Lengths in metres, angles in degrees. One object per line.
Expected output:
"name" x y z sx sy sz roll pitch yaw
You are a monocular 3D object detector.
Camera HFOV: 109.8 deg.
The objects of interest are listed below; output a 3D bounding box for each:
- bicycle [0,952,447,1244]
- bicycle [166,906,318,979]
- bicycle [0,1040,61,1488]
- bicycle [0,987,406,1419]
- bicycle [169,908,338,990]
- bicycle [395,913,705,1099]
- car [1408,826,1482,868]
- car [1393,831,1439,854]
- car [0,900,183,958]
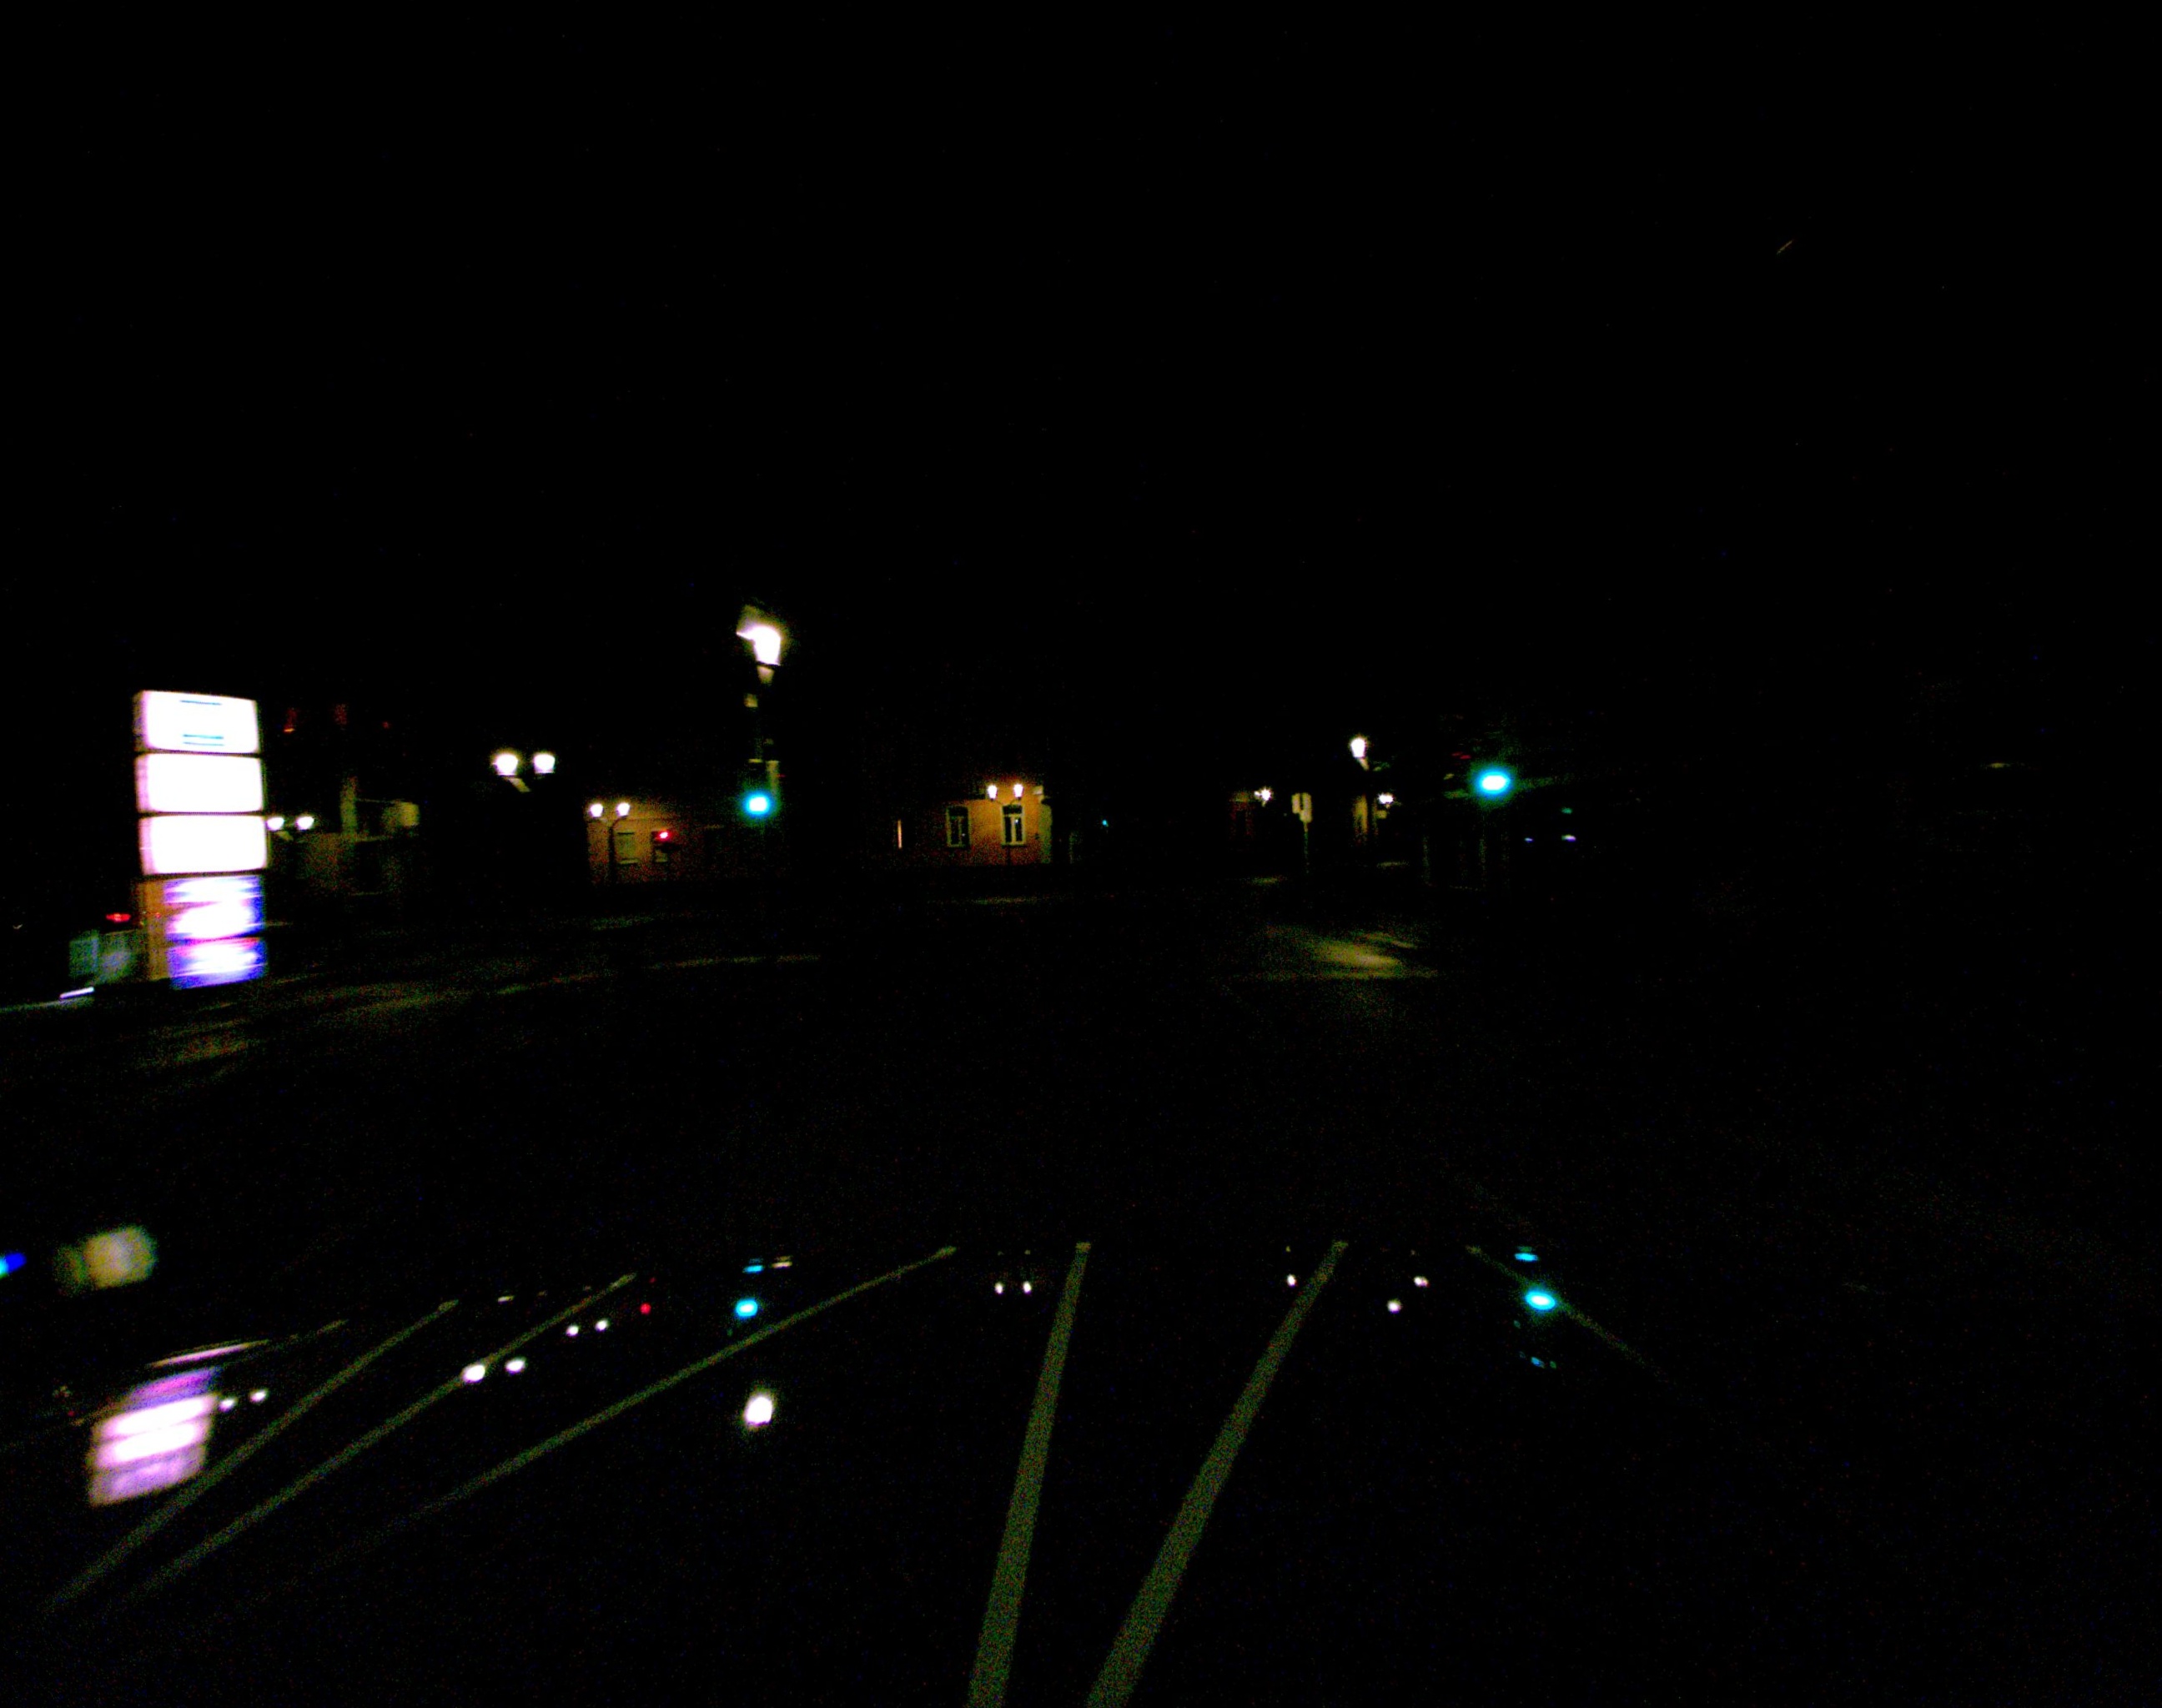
"bicycle" -4.345 1.138 3.731 1.774 1.134 0.687 -3 1 -3
"bicycle" -15.730 1.625 14.295 0.648 1.121 1.806 -2 1 36
"bicycle" -3.683 1.110 1.678 1.793 1.128 0.629 -3 1 -5
"bicycle" -3.429 1.111 2.539 1.659 1.128 0.642 -3 1 -3
"bicycle" -13.793 1.543 12.721 0.648 1.121 1.806 -2 1 36
"bicycle" -3.888 1.087 5.700 1.660 1.134 0.827 -3 1 -3
"car" 16.784 -0.349 34.952 1.924 1.740 4.185 -2 1 42
"car" 24.021 -0.848 54.444 1.730 1.510 4.007 -2 1 44
"car" -33.726 2.512 25.578 4.243 1.576 1.740 -3 1 -12
